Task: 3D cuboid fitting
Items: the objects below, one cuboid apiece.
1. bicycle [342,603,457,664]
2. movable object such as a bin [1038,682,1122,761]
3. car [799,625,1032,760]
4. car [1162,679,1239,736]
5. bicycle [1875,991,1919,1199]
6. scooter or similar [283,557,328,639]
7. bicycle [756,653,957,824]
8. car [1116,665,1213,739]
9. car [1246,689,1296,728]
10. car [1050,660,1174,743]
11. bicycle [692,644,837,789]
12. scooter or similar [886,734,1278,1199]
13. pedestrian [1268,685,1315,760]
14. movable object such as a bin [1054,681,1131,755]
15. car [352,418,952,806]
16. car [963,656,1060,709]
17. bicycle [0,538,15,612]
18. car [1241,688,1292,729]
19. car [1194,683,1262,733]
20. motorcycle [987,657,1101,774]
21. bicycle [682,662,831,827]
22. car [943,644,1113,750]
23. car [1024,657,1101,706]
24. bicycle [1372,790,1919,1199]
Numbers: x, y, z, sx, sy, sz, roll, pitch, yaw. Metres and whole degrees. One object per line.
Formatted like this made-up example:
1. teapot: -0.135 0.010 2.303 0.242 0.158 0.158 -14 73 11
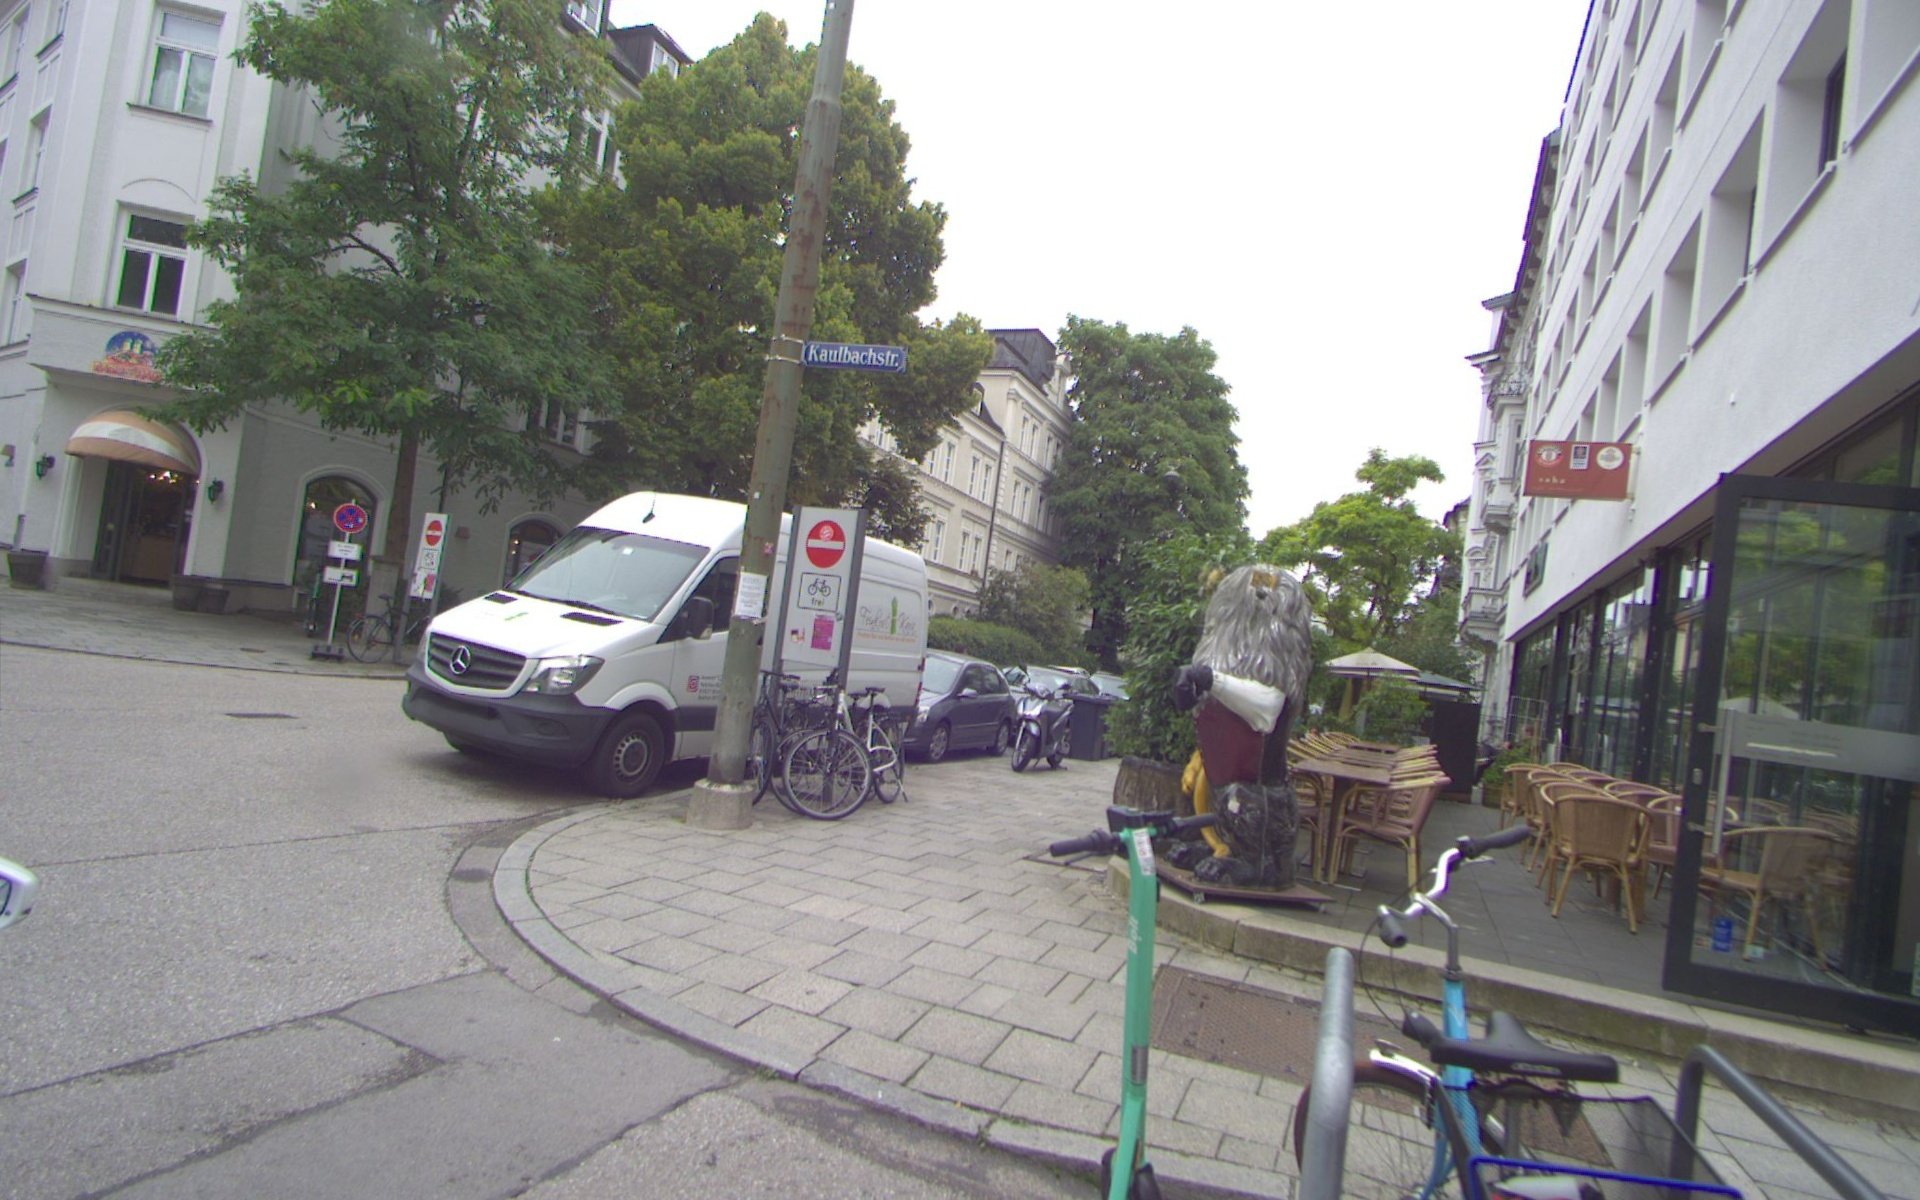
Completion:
1. bicycle: -8.736 0.534 15.713 0.536 0.792 1.412 6 -2 42
2. movable object such as a bin: 2.007 2.004 16.713 0.991 1.123 1.098 7 -3 22
3. car: -0.495 1.405 15.093 1.763 1.463 4.004 9 -2 23
4. car: 8.440 3.737 35.042 1.831 1.609 4.004 7 -3 23
5. bicycle: 1.860 1.281 1.230 0.454 1.081 1.458 8 -3 13
6. scooter or similar: -11.276 -0.060 17.342 0.424 1.293 1.268 10 -1 -31
7. bicycle: -0.760 1.085 8.091 0.581 1.140 1.908 7 -3 25
8. car: 6.063 2.992 29.466 1.899 1.761 4.004 7 -3 23
9. car: 16.913 5.889 54.604 1.964 1.702 4.486 7 -3 23
10. car: 3.821 2.506 24.680 1.831 1.625 4.003 7 -3 24
11. bicycle: -1.623 0.984 8.590 0.363 1.083 1.509 7 -3 20
12. scooter or similar: 0.332 0.939 2.123 0.410 1.223 1.358 7 -3 22
13. pedestrian: 8.197 3.025 24.866 0.716 1.734 0.686 6 -2 42
14. movable object such as a bin: 2.355 2.086 17.791 0.991 1.123 1.098 7 -3 22
15. car: -2.421 0.320 10.111 2.023 2.619 5.916 8 -2 25
16. car: 1.784 2.794 33.760 1.779 1.454 4.059 4 -4 25
17. bicycle: -14.196 -0.448 14.007 1.722 1.011 0.541 8 1 10
18. car: 16.632 5.892 54.442 1.964 1.835 4.003 7 -3 24
19. car: 10.872 4.358 40.551 1.899 1.609 4.170 7 -3 24
20. motorcycle: 1.193 1.577 13.763 0.647 1.400 2.179 7 -3 26
21. bicycle: -1.538 1.100 7.774 0.334 1.140 1.182 7 -3 27
22. car: 1.481 1.944 19.884 1.779 1.586 4.256 9 -3 25
23. car: 4.099 3.254 39.711 1.779 1.634 4.003 4 -4 24
24. bicycle: 1.018 1.068 1.754 0.437 1.299 1.463 7 -3 22
